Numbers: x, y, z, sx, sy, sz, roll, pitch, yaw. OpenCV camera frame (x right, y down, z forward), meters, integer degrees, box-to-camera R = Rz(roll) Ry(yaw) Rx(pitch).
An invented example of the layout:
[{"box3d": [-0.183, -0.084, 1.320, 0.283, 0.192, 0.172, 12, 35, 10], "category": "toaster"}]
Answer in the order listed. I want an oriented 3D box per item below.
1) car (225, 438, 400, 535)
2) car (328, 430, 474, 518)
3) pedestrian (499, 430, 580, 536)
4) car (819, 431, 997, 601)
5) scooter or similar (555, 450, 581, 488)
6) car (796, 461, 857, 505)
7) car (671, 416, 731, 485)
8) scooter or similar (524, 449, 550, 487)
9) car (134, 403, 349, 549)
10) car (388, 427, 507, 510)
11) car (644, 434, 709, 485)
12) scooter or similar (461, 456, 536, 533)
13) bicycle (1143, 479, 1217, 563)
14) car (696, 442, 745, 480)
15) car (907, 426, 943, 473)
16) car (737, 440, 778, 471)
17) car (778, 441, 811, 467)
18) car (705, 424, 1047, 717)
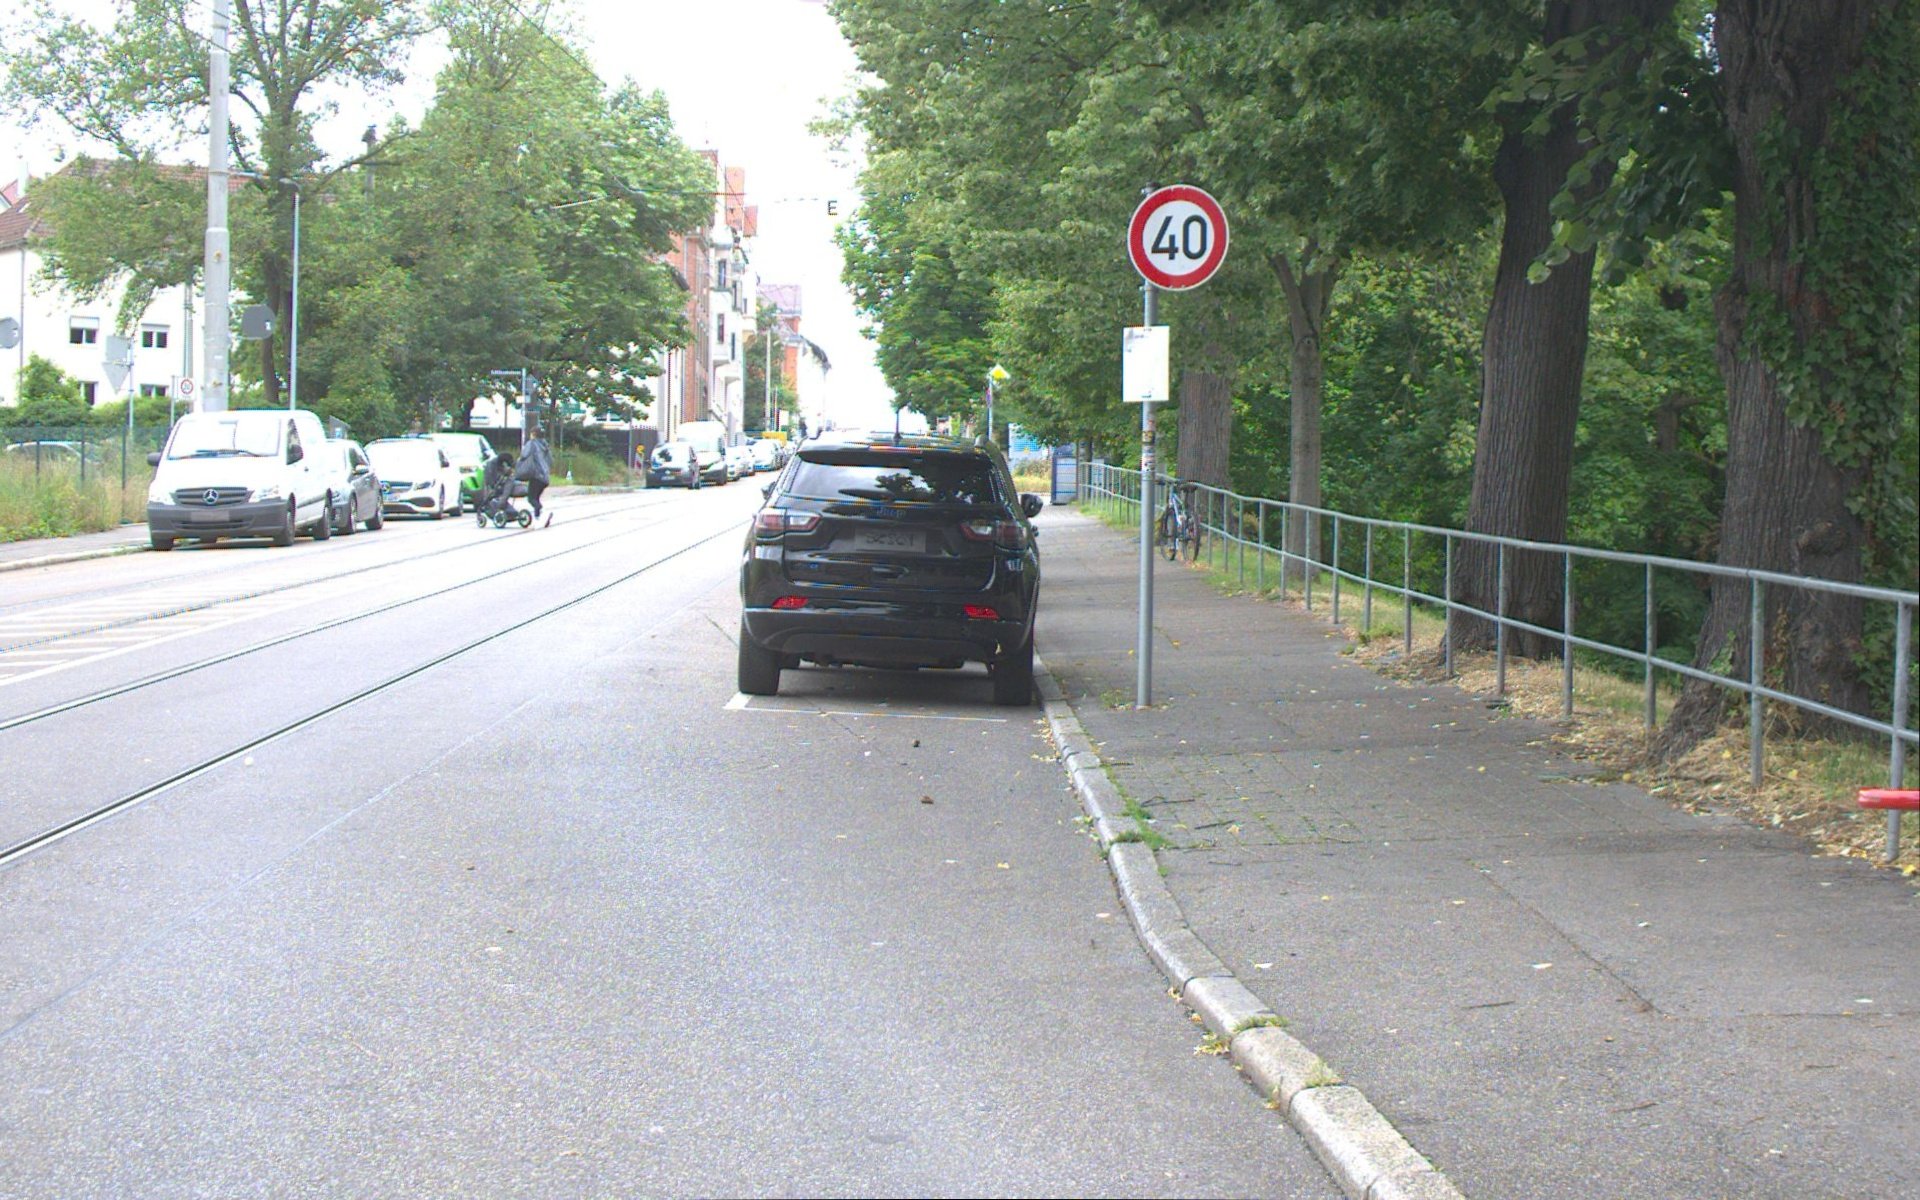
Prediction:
[{"box3d": [-10.004, -1.789, 53.425, 1.896, 1.427, 4.512, 0, 3, 0], "category": "car"}, {"box3d": [-10.013, -2.276, 61.886, 1.885, 1.520, 4.664, 0, 2, 0], "category": "car"}, {"box3d": [-6.619, -1.841, 54.118, 0.915, 1.623, 0.806, 3, 2, 37], "category": "pedestrian"}, {"box3d": [-0.601, -0.968, 37.685, 1.726, 1.625, 4.089, 5, 3, -2], "category": "car"}, {"box3d": [-14.046, -4.695, 123.124, 0.691, 1.334, 1.639, 1, 2, 1], "category": "scooter or similar"}, {"box3d": [-4.706, -4.135, 121.859, 1.993, 1.493, 4.313, 1, 2, -1], "category": "car"}, {"box3d": [-10.719, -6.177, 142.563, 2.230, 2.754, 5.801, 1, 2, -3], "category": "car"}, {"box3d": [-15.140, -4.725, 123.128, 0.691, 1.334, 1.639, 1, 2, 1], "category": "scooter or similar"}, {"box3d": [-9.921, -1.713, 47.836, 2.035, 1.875, 4.886, -2, 2, -2], "category": "car"}, {"box3d": [-10.036, -2.601, 67.545, 1.723, 1.574, 4.181, 0, 2, 0], "category": "car"}, {"box3d": [-10.549, -5.233, 128.093, 1.993, 1.802, 4.000, 2, 2, 1], "category": "car"}, {"box3d": [-7.324, -1.667, 54.588, 0.838, 1.192, 0.806, 3, 2, 37], "category": "scooter or similar"}, {"box3d": [2.621, -0.954, 41.104, 0.427, 0.972, 1.796, 1, 2, -10], "category": "bicycle"}, {"box3d": [-10.639, -6.151, 152.887, 1.993, 1.594, 4.313, 1, 2, -3], "category": "car"}, {"box3d": [-1.982, -8.556, 195.717, 1.993, 2.565, 4.705, 1, 2, 0], "category": "car"}, {"box3d": [-10.963, -7.828, 186.375, 1.924, 1.596, 4.000, 1, 2, 0], "category": "car"}, {"box3d": [-10.876, -9.564, 225.872, 1.993, 1.596, 4.001, 1, 2, -1], "category": "car"}, {"box3d": [-0.450, -0.270, 22.005, 1.904, 1.609, 4.600, 2, 3, 1], "category": "car"}]
